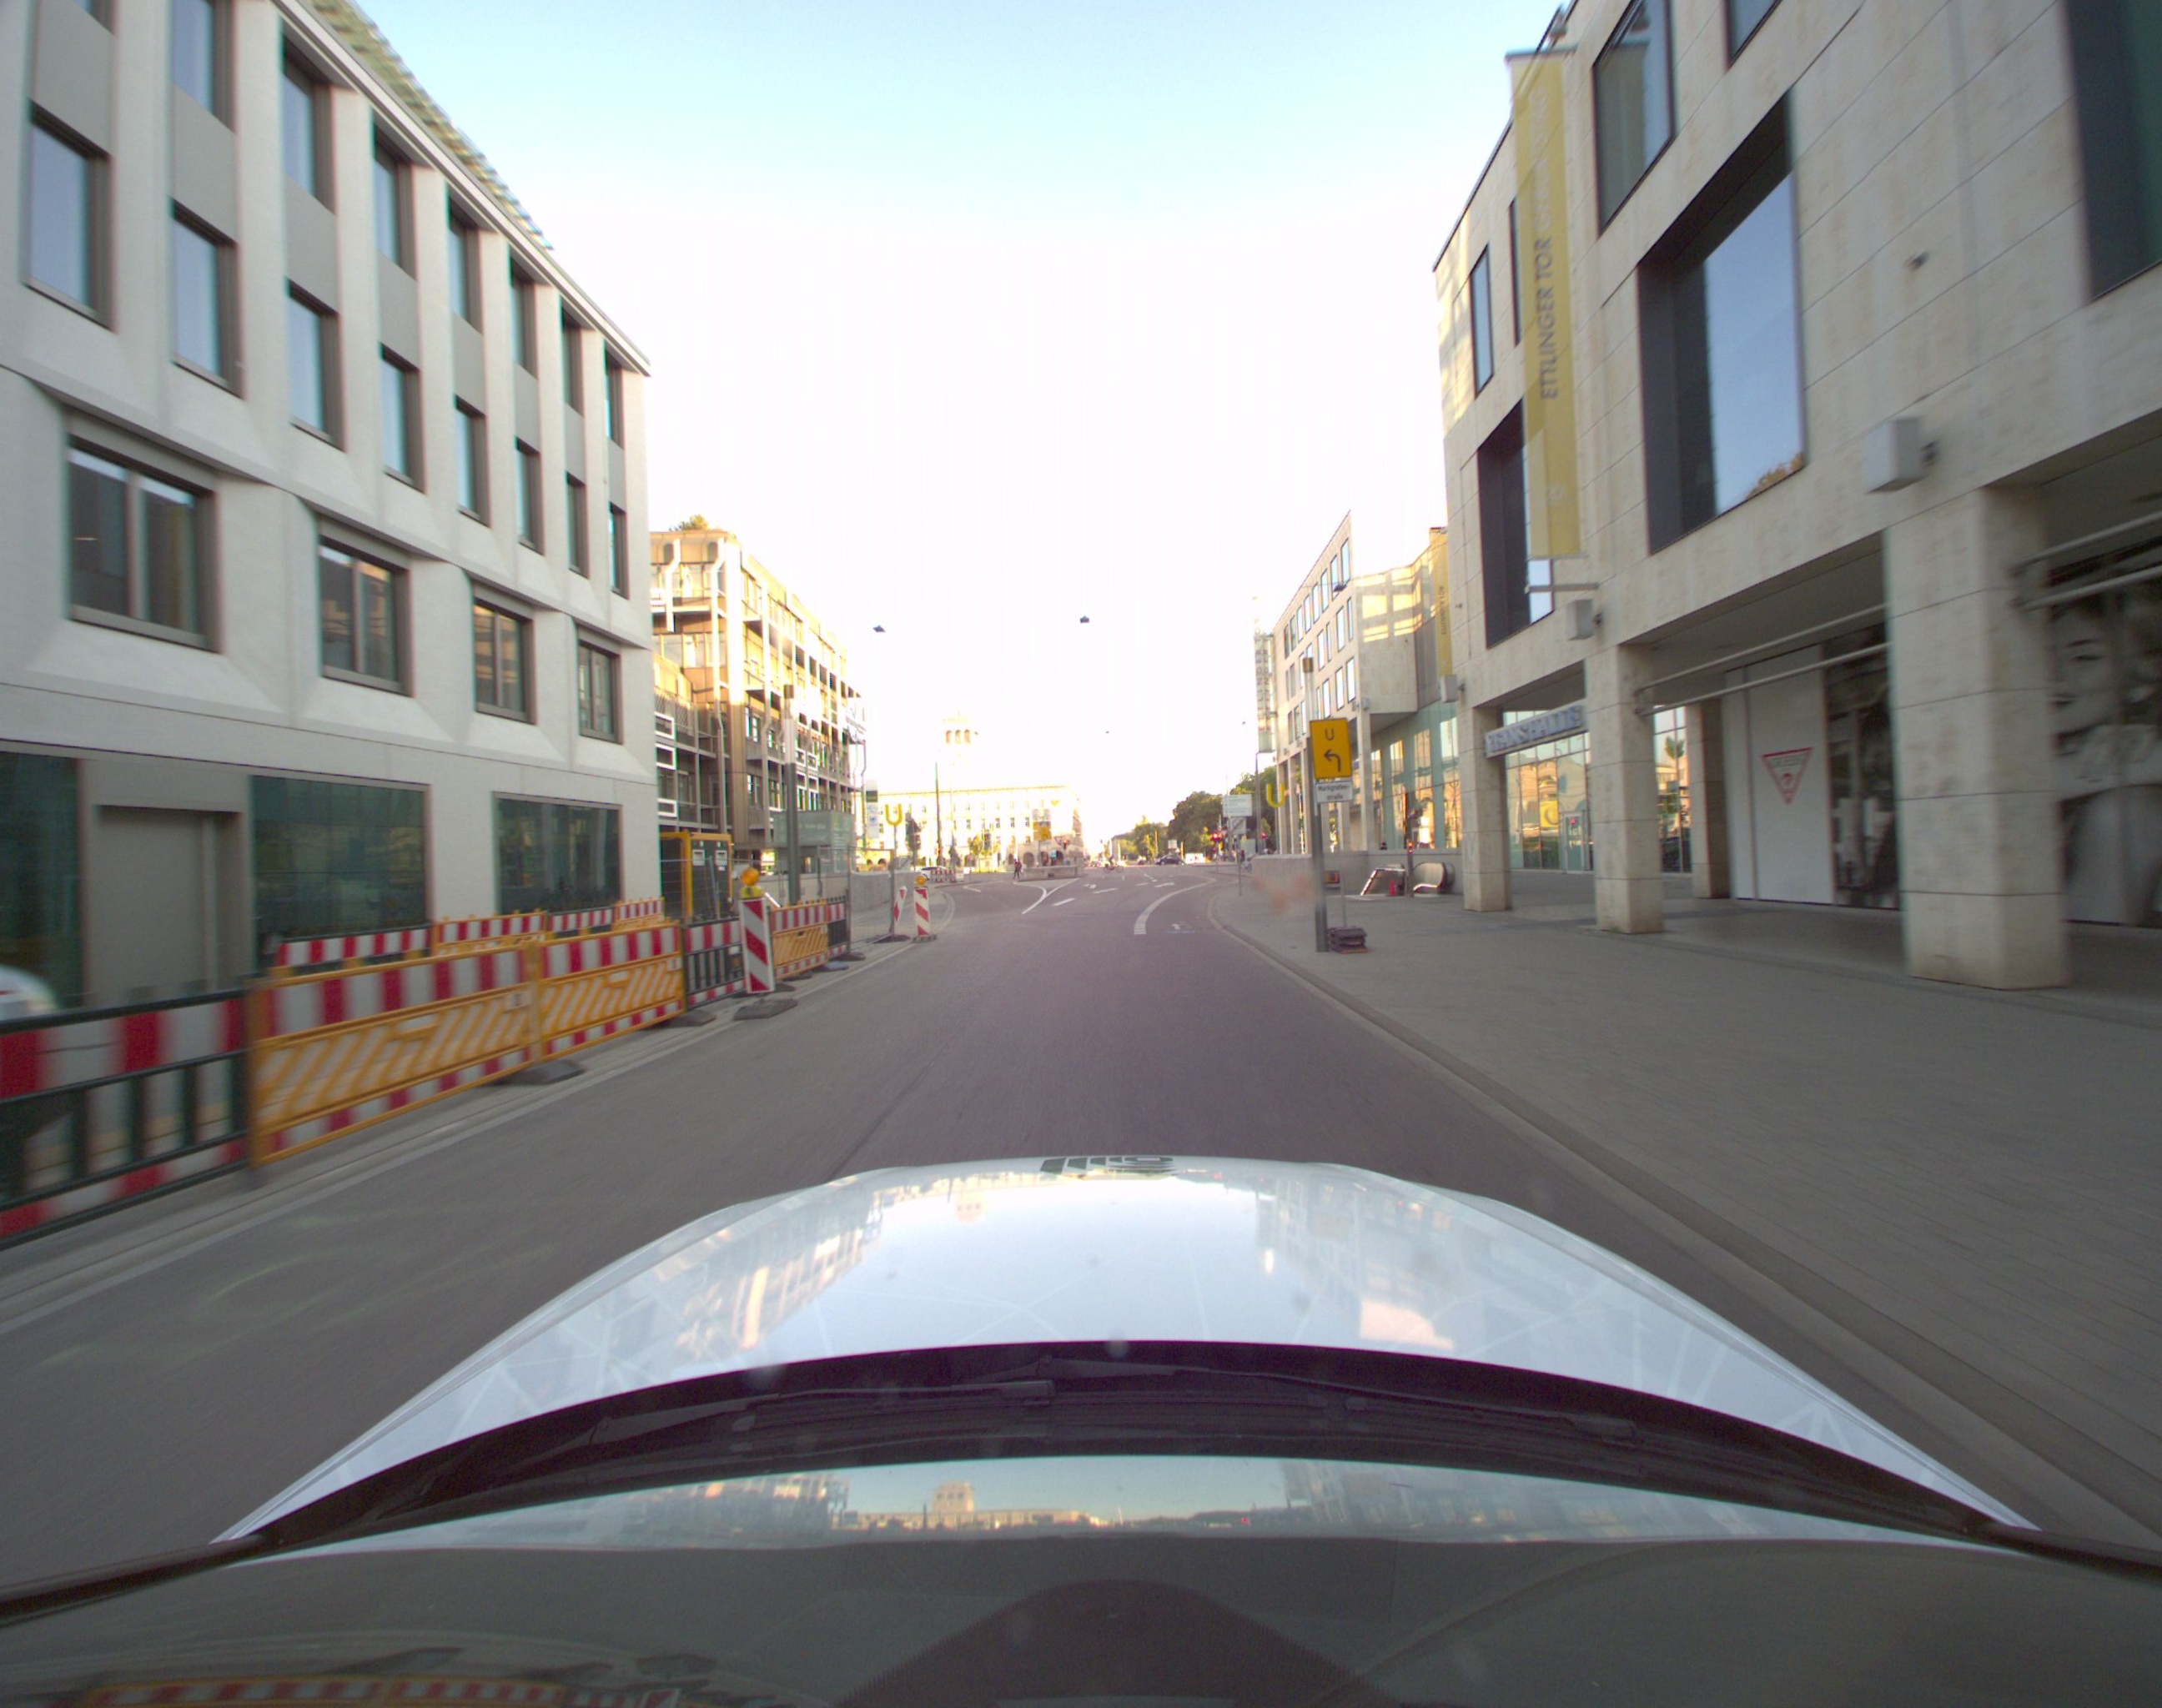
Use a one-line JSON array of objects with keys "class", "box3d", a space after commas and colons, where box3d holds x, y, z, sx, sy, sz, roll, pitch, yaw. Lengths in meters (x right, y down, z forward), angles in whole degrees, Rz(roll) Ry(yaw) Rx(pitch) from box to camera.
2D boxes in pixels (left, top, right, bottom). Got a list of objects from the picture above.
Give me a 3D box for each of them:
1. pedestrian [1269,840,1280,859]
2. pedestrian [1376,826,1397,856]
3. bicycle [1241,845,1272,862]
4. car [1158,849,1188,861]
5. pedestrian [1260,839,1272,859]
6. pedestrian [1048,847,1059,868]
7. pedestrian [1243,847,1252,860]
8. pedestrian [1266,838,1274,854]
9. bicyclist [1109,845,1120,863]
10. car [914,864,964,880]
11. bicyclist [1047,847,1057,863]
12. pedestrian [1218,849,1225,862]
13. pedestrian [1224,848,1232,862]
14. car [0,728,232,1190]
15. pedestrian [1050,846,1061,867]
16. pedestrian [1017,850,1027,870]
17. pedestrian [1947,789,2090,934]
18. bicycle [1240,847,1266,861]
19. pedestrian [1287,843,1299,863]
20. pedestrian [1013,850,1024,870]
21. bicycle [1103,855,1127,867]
[{"class": "pedestrian", "box3d": [18.658, -0.412, 78.481, 0.753, 1.777, 0.741, -5, -1, 3]}, {"class": "pedestrian", "box3d": [19.299, -0.803, 51.480, 0.857, 1.777, 0.991, -4, -1, 1]}, {"class": "bicycle", "box3d": [11.708, -0.006, 54.386, 1.888, 1.048, 0.571, -3, -1, 7]}, {"class": "car", "box3d": [13.031, 0.164, 115.539, 3.983, 1.494, 1.824, -3, -1, -7]}, {"class": "pedestrian", "box3d": [17.809, -0.491, 78.519, 0.857, 1.777, 0.741, -5, -1, 3]}, {"class": "pedestrian", "box3d": [-2.407, 0.334, 71.886, 0.739, 1.777, 0.859, -1, -1, -14]}, {"class": "pedestrian", "box3d": [22.372, -0.030, 109.375, 0.689, 1.730, 0.804, -2, -1, -24]}, {"class": "pedestrian", "box3d": [20.810, -0.907, 89.824, 0.689, 1.730, 0.742, -3, -1, 4]}, {"class": "bicyclist", "box3d": [3.249, 0.013, 79.290, 1.015, 1.621, 0.654, -3, -1, 2]}, {"class": "car", "box3d": [-15.018, 1.908, 86.015, 4.778, 1.496, 2.129, -3, -1, 2]}, {"class": "bicyclist", "box3d": [-2.800, 0.100, 79.201, 0.875, 1.531, 0.654, -3, -1, 4]}, {"class": "pedestrian", "box3d": [18.693, 0.183, 108.165, 0.805, 1.730, 0.688, -3, -1, 1]}, {"class": "pedestrian", "box3d": [19.514, 0.123, 108.149, 0.805, 1.730, 0.688, -3, -1, 1]}, {"class": "car", "box3d": [-6.951, 0.561, 2.522, 2.165, 2.470, 6.002, -2, -1, 2]}, {"class": "pedestrian", "box3d": [-2.225, 0.225, 70.858, 0.738, 1.777, 0.860, -4, -1, -10]}, {"class": "pedestrian", "box3d": [-5.411, 0.544, 75.055, 0.736, 1.777, 0.863, -5, -1, 0]}, {"class": "pedestrian", "box3d": [10.518, 0.090, 9.167, 0.631, 1.542, 0.775, -2, -2, 1]}, {"class": "bicycle", "box3d": [13.453, 0.000, 63.759, 1.860, 0.936, 0.516, -3, -1, 1]}, {"class": "pedestrian", "box3d": [20.189, -0.062, 77.515, 0.889, 1.840, 0.688, -3, -1, 1]}, {"class": "pedestrian", "box3d": [-5.700, 0.550, 74.292, 0.736, 1.777, 0.863, -5, -1, 0]}, {"class": "bicycle", "box3d": [3.291, 0.703, 79.270, 2.233, 1.062, 0.654, -3, -1, 2]}]
